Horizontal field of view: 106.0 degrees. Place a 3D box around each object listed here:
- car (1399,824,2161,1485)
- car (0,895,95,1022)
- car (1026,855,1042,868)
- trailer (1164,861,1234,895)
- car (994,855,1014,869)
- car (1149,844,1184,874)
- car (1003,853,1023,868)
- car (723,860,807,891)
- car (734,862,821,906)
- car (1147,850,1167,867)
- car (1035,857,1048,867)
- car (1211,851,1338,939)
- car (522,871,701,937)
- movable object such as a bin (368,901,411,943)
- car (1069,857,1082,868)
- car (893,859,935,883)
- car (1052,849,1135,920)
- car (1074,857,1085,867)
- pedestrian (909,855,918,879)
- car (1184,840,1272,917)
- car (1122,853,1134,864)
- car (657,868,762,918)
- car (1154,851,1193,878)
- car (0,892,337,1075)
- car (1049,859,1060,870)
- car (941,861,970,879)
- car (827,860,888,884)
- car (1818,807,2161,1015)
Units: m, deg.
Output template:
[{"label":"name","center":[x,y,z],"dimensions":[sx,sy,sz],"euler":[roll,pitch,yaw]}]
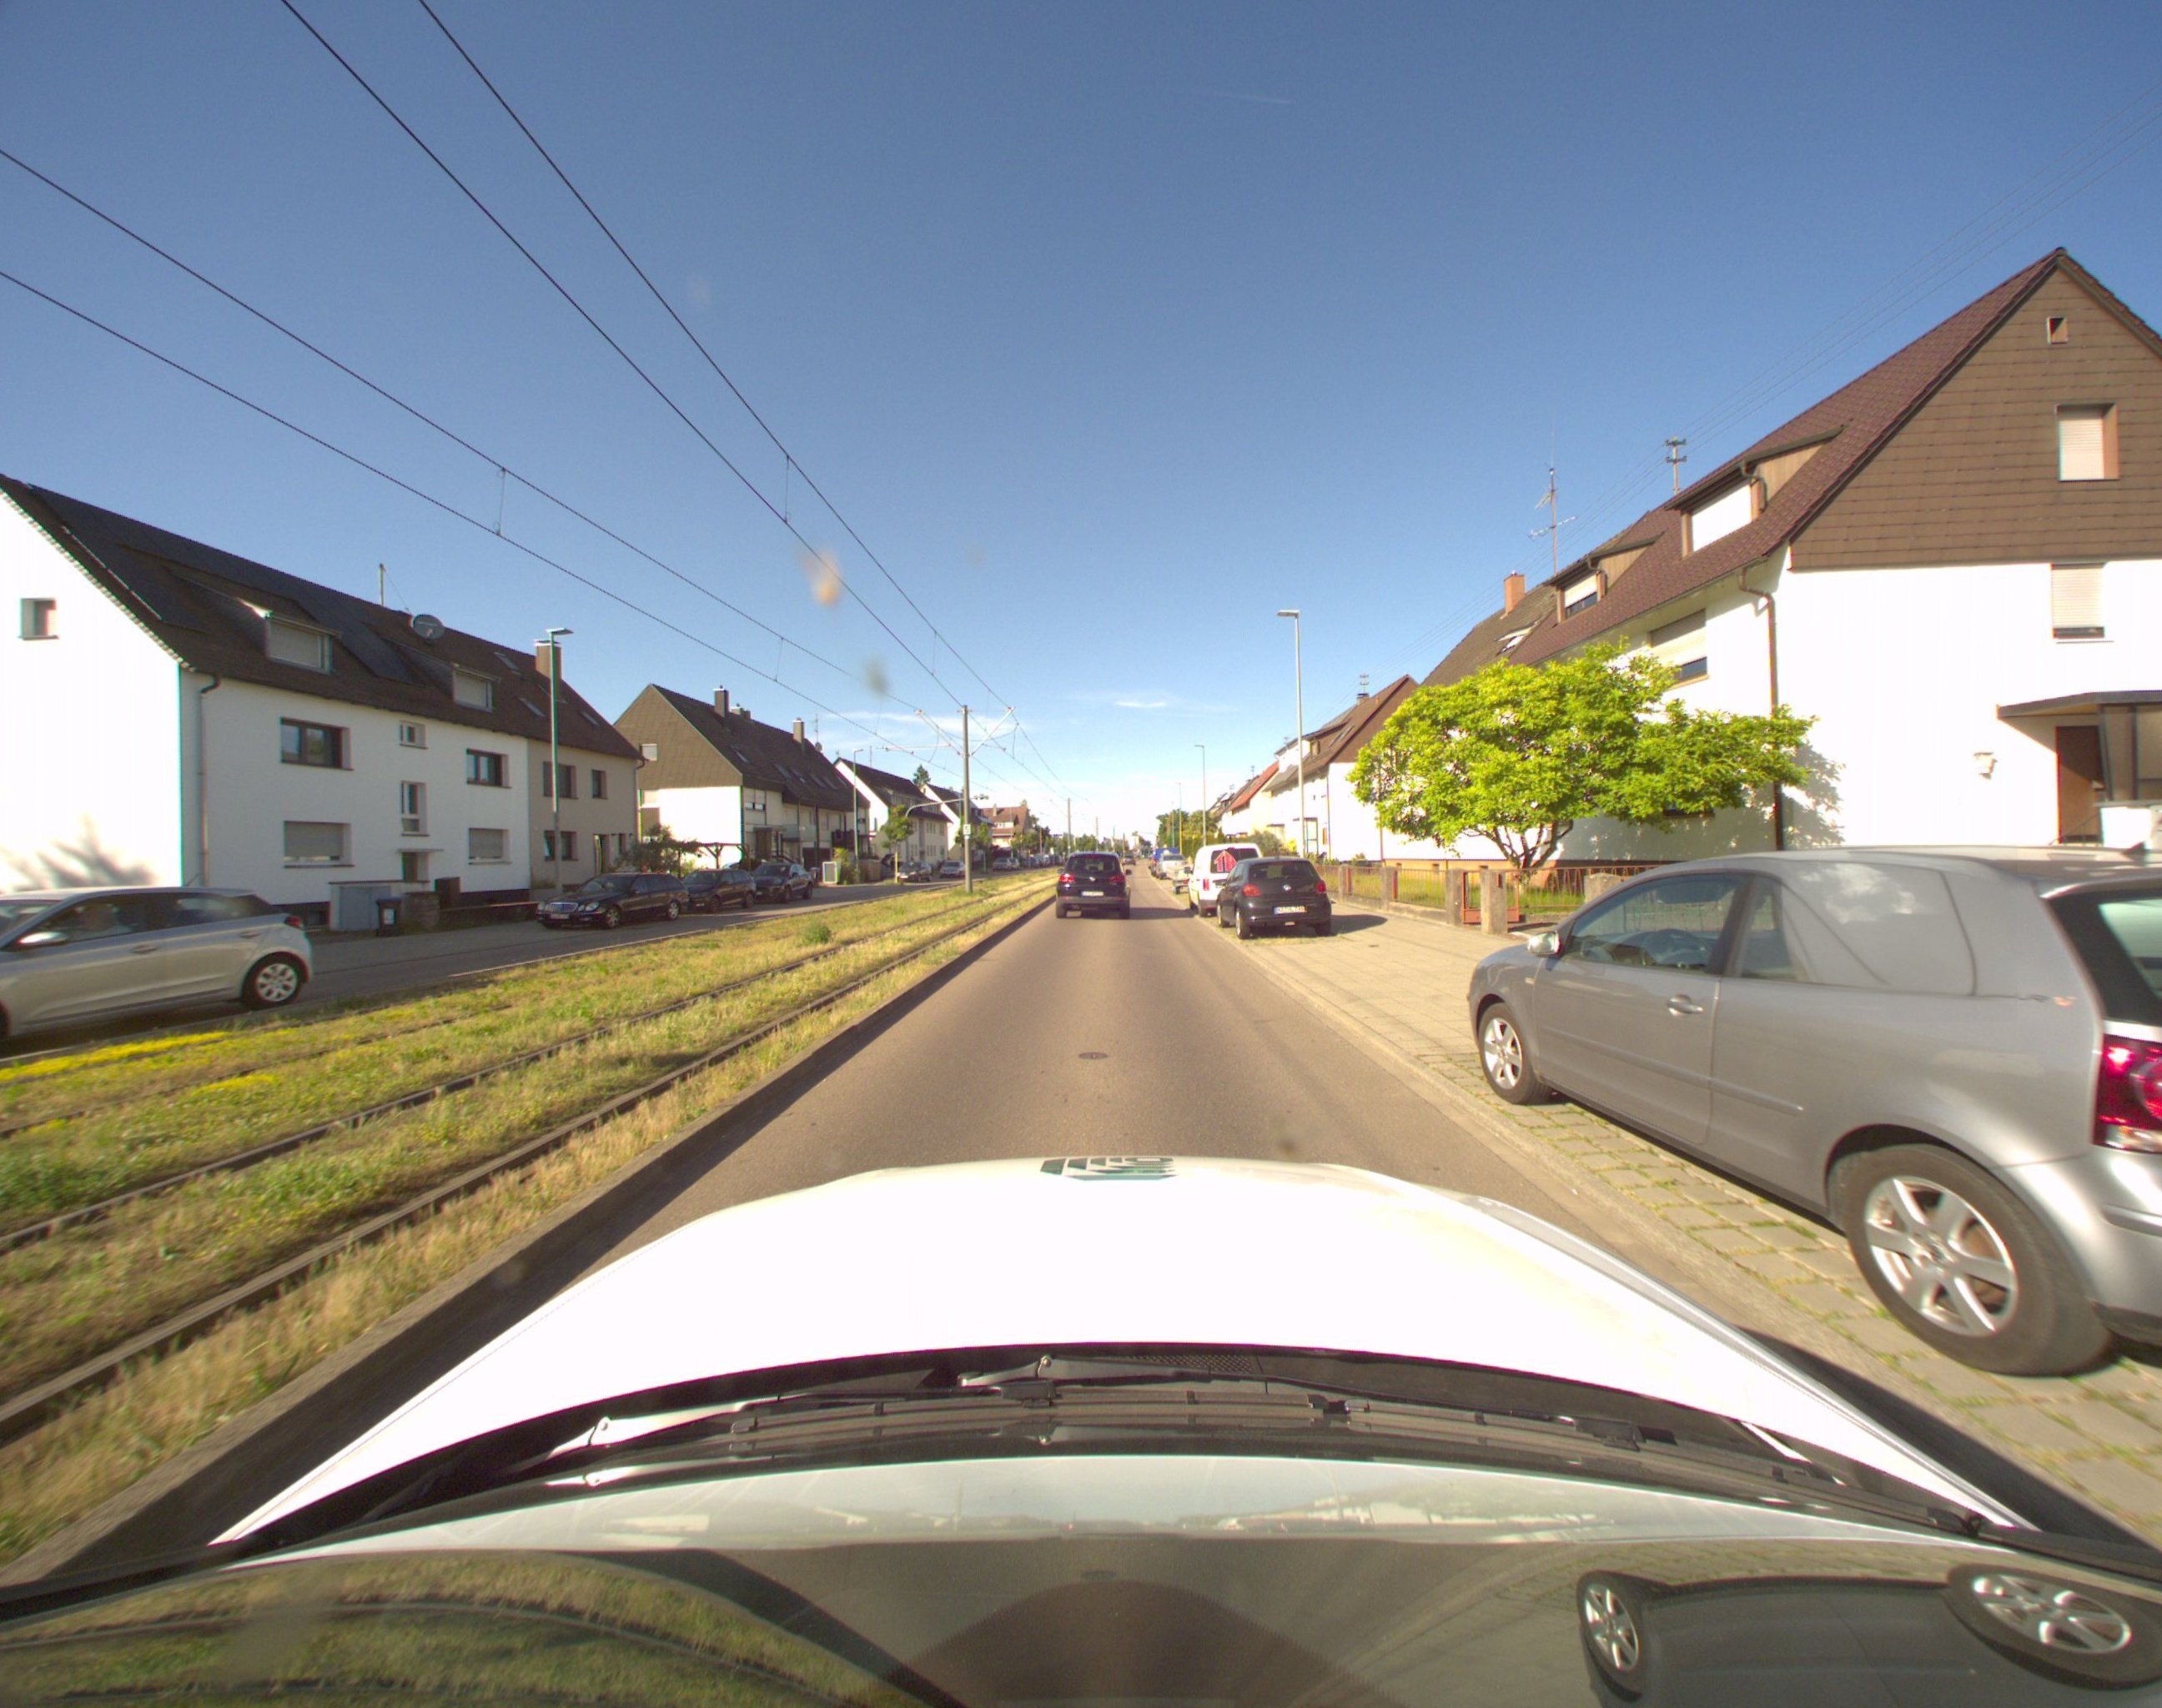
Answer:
[{"label":"car","center":[3.234,0.662,3.990],"dimensions":[1.610,1.475,4.449],"euler":[-2,0,1]},{"label":"car","center":[-13.775,1.296,8.480],"dimensions":[1.783,1.462,4.170],"euler":[-2,0,3]},{"label":"car","center":[-6.483,1.054,113.196],"dimensions":[1.653,1.581,4.003],"euler":[-2,-2,3]},{"label":"trailer","center":[4.554,0.888,32.063],"dimensions":[2.196,1.094,4.373],"euler":[-4,0,2]},{"label":"car","center":[-8.631,0.890,91.062],"dimensions":[1.652,1.496,3.582],"euler":[-2,0,3]},{"label":"car","center":[5.751,0.346,55.181],"dimensions":[1.985,1.862,4.921],"euler":[-2,0,3]},{"label":"car","center":[-8.088,0.798,97.210],"dimensions":[1.796,1.631,4.003],"euler":[-2,0,3]},{"label":"car","center":[-18.512,1.253,47.796],"dimensions":[4.154,1.616,1.758],"euler":[-2,0,-2]},{"label":"car","center":[-12.478,1.179,33.800],"dimensions":[1.797,1.597,4.810],"euler":[-2,0,-1]},{"label":"car","center":[7.185,0.443,77.168],"dimensions":[1.638,1.534,3.867],"euler":[-2,0,3]},{"label":"car","center":[-5.793,1.182,119.198],"dimensions":[1.509,1.361,3.592],"euler":[-2,0,2]},{"label":"car","center":[3.683,0.717,16.199],"dimensions":[1.664,1.453,4.128],"euler":[-2,0,2]},{"label":"car","center":[-13.031,1.315,23.054],"dimensions":[1.868,1.523,4.887],"euler":[-1,0,5]},{"label":"movable object such as a bin","center":[-16.231,1.591,19.119],"dimensions":[0.387,0.927,0.704],"euler":[-2,-2,1]},{"label":"car","center":[-0.959,1.487,139.576],"dimensions":[1.866,1.655,4.002],"euler":[-2,-2,3]},{"label":"car","center":[-11.252,1.151,55.101],"dimensions":[1.610,1.453,3.725],"euler":[-2,0,7]},{"label":"car","center":[0.224,0.747,21.462],"dimensions":[1.809,1.671,4.250],"euler":[0,0,-5]},{"label":"car","center":[-0.227,1.528,152.763],"dimensions":[1.758,1.617,4.002],"euler":[-2,-2,3]},{"label":"pedestrian","center":[-12.646,0.977,61.579],"dimensions":[0.466,1.746,0.536],"euler":[-2,0,2]},{"label":"car","center":[3.808,0.583,21.760],"dimensions":[1.683,1.776,4.659],"euler":[-2,0,3]},{"label":"car","center":[6.355,0.581,110.207],"dimensions":[1.566,1.391,3.617],"euler":[-2,0,2]},{"label":"car","center":[-12.765,1.288,28.282],"dimensions":[1.514,1.475,4.204],"euler":[-2,0,3]},{"label":"car","center":[5.500,0.585,48.808],"dimensions":[1.780,1.441,4.460],"euler":[-4,0,1]},{"label":"car","center":[-9.997,1.186,7.907],"dimensions":[1.701,1.490,4.027],"euler":[-2,-2,3]},{"label":"car","center":[-4.367,1.749,136.107],"dimensions":[1.459,1.677,3.289],"euler":[-2,-1,3]},{"label":"car","center":[-10.442,1.334,67.950],"dimensions":[1.612,1.409,3.720],"euler":[-2,-2,3]},{"label":"car","center":[-16.040,1.260,58.475],"dimensions":[3.894,1.568,1.732],"euler":[-2,0,-4]},{"label":"car","center":[8.687,0.352,5.681],"dimensions":[2.002,1.445,4.844],"euler":[-3,0,-23]}]
